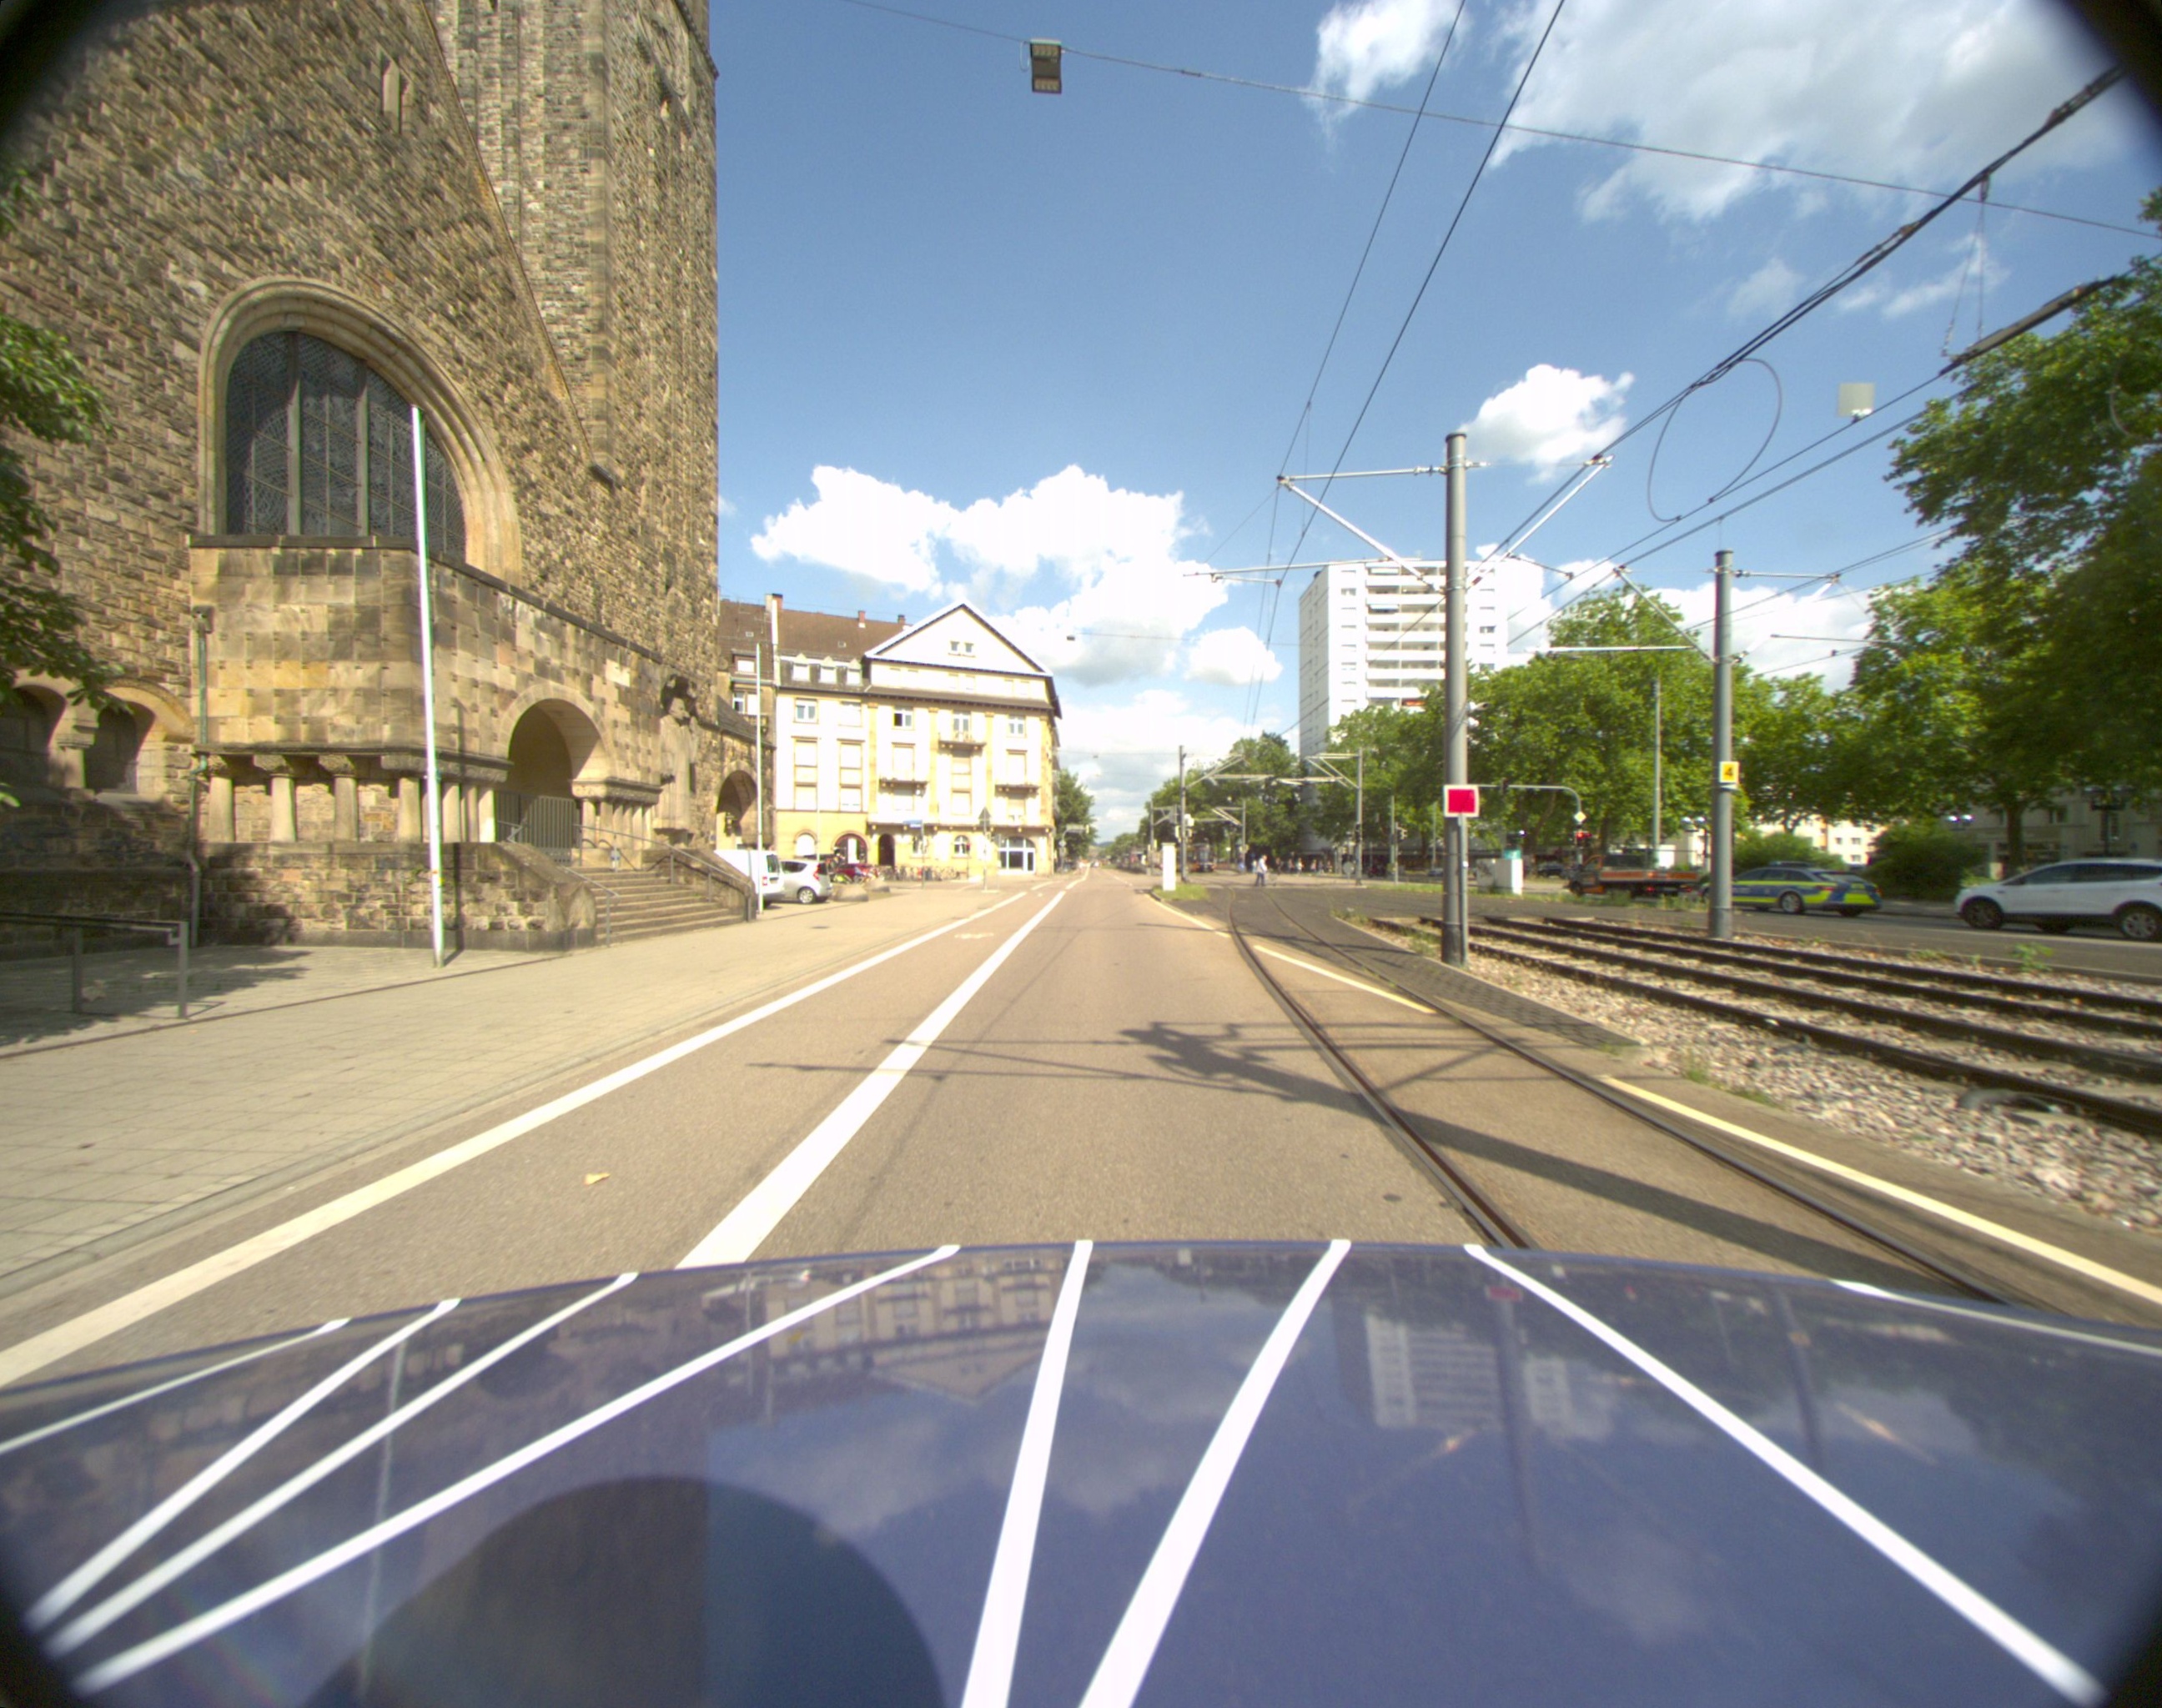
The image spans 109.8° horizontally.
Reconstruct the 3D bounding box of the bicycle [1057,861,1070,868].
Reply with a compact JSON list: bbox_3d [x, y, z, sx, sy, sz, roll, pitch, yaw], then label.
[{"bbox_3d":[-2.262,1.392,99.892,1.693,0.980,0.497,0,0,-2],"label":"bicycle"}]

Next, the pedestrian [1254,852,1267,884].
[{"bbox_3d":[9.738,0.778,41.262,0.528,1.722,0.557,0,0,-4],"label":"pedestrian"}]

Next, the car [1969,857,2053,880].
[{"bbox_3d":[68.777,1.067,56.201,4.081,1.650,1.851,0,0,-2],"label":"car"}]

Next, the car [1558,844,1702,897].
[{"bbox_3d":[22.211,0.693,31.091,2.080,1.974,5.337,0,-2,1],"label":"car"}]

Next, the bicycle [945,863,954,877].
[{"bbox_3d":[-10.806,1.319,62.466,0.610,1.013,1.874,0,2,-15],"label":"bicycle"}]

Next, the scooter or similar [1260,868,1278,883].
[{"bbox_3d":[10.224,1.151,41.286,0.840,0.799,0.553,0,0,-3],"label":"scooter or similar"}]

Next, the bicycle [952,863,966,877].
[{"bbox_3d":[-10.058,1.330,62.724,0.611,1.013,1.872,0,2,-27],"label":"bicycle"}]

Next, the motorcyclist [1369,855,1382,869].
[{"bbox_3d":[26.033,0.716,67.217,0.976,1.210,0.699,0,1,7],"label":"motorcyclist"}]

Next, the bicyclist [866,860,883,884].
[{"bbox_3d":[-12.880,1.108,47.345,0.923,1.494,0.651,0,-1,-28],"label":"bicyclist"}]

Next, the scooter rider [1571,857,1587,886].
[{"bbox_3d":[27.604,0.984,42.128,0.438,1.584,0.544,-2,1,-21],"label":"scooter rider"}]

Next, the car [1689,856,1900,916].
[{"bbox_3d":[22.169,0.909,24.002,1.871,1.642,5.154,2,0,1],"label":"car"}]

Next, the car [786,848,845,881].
[{"bbox_3d":[-20.025,0.752,57.224,3.987,2.071,1.971,5,4,29],"label":"car"}]

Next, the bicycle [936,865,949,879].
[{"bbox_3d":[-11.075,1.429,60.850,0.602,1.013,1.876,1,2,2],"label":"bicycle"}]

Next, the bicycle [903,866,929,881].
[{"bbox_3d":[-12.778,1.494,58.721,1.932,1.013,0.538,-1,3,-41],"label":"bicycle"}]

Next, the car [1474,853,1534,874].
[{"bbox_3d":[39.919,0.887,71.684,5.176,1.880,1.997,1,0,-19],"label":"car"}]

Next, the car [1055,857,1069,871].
[{"bbox_3d":[-2.622,1.400,107.382,1.851,1.779,4.000,2,0,0],"label":"car"}]

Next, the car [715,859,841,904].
[{"bbox_3d":[-10.687,0.961,27.000,3.776,1.538,1.798,0,0,-1],"label":"car"}]

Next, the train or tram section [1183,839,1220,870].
[{"bbox_3d":[14.712,0.072,93.589,2.803,3.540,11.377,0,0,1],"label":"train or tram section"}]

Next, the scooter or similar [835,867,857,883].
[{"bbox_3d":[-14.313,1.287,46.237,1.133,0.971,0.888,0,0,-28],"label":"scooter or similar"}]

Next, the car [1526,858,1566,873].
[{"bbox_3d":[50.897,1.284,83.143,4.004,1.610,1.687,0,0,-22],"label":"car"}]

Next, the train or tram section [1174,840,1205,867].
[{"bbox_3d":[14.852,-0.058,104.812,2.813,3.540,11.181,0,0,1],"label":"train or tram section"}]

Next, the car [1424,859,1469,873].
[{"bbox_3d":[37.422,1.213,77.831,4.003,1.481,1.858,0,0,-16],"label":"car"}]

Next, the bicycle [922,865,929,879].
[{"bbox_3d":[-12.368,1.412,60.519,0.540,1.013,1.926,0,2,-10],"label":"bicycle"}]

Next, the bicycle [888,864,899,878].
[{"bbox_3d":[-14.916,1.348,60.363,0.541,1.013,1.924,0,3,-25],"label":"bicycle"}]

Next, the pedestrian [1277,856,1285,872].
[{"bbox_3d":[20.949,1.024,79.535,0.671,1.693,0.648,0,0,4],"label":"pedestrian"}]

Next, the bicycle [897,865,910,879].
[{"bbox_3d":[-13.984,1.392,59.811,0.541,1.013,1.923,0,3,-28],"label":"bicycle"}]

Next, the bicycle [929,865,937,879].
[{"bbox_3d":[-11.860,1.419,60.850,0.540,1.013,1.926,0,2,-10],"label":"bicycle"}]

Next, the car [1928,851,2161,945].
[{"bbox_3d":[21.963,0.866,16.546,1.764,1.598,4.676,0,4,1],"label":"car"}]

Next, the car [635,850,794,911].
[{"bbox_3d":[-11.316,0.789,23.675,4.013,1.813,1.863,0,0,-2],"label":"car"}]

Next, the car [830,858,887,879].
[{"bbox_3d":[-17.053,1.077,58.247,3.988,1.433,1.972,2,2,29],"label":"car"}]

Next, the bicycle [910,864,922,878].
[{"bbox_3d":[-13.376,1.373,61.426,0.541,1.013,1.924,0,3,-25],"label":"bicycle"}]

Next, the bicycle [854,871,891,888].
[{"bbox_3d":[-12.982,1.591,47.292,2.137,0.983,0.651,0,0,-28],"label":"bicycle"}]

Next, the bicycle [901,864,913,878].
[{"bbox_3d":[-13.995,1.324,61.113,0.541,1.013,1.924,0,3,-25],"label":"bicycle"}]

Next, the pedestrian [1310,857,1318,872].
[{"bbox_3d":[25.354,1.120,82.573,0.671,1.693,0.648,0,0,4],"label":"pedestrian"}]

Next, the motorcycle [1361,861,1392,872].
[{"bbox_3d":[26.133,1.108,67.206,2.502,0.971,0.699,0,1,7],"label":"motorcycle"}]

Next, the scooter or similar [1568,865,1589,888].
[{"bbox_3d":[27.579,1.251,42.114,0.877,1.219,0.544,-2,1,-21],"label":"scooter or similar"}]

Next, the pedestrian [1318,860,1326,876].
[{"bbox_3d":[25.477,1.445,80.231,0.671,1.693,0.648,0,0,4],"label":"pedestrian"}]
